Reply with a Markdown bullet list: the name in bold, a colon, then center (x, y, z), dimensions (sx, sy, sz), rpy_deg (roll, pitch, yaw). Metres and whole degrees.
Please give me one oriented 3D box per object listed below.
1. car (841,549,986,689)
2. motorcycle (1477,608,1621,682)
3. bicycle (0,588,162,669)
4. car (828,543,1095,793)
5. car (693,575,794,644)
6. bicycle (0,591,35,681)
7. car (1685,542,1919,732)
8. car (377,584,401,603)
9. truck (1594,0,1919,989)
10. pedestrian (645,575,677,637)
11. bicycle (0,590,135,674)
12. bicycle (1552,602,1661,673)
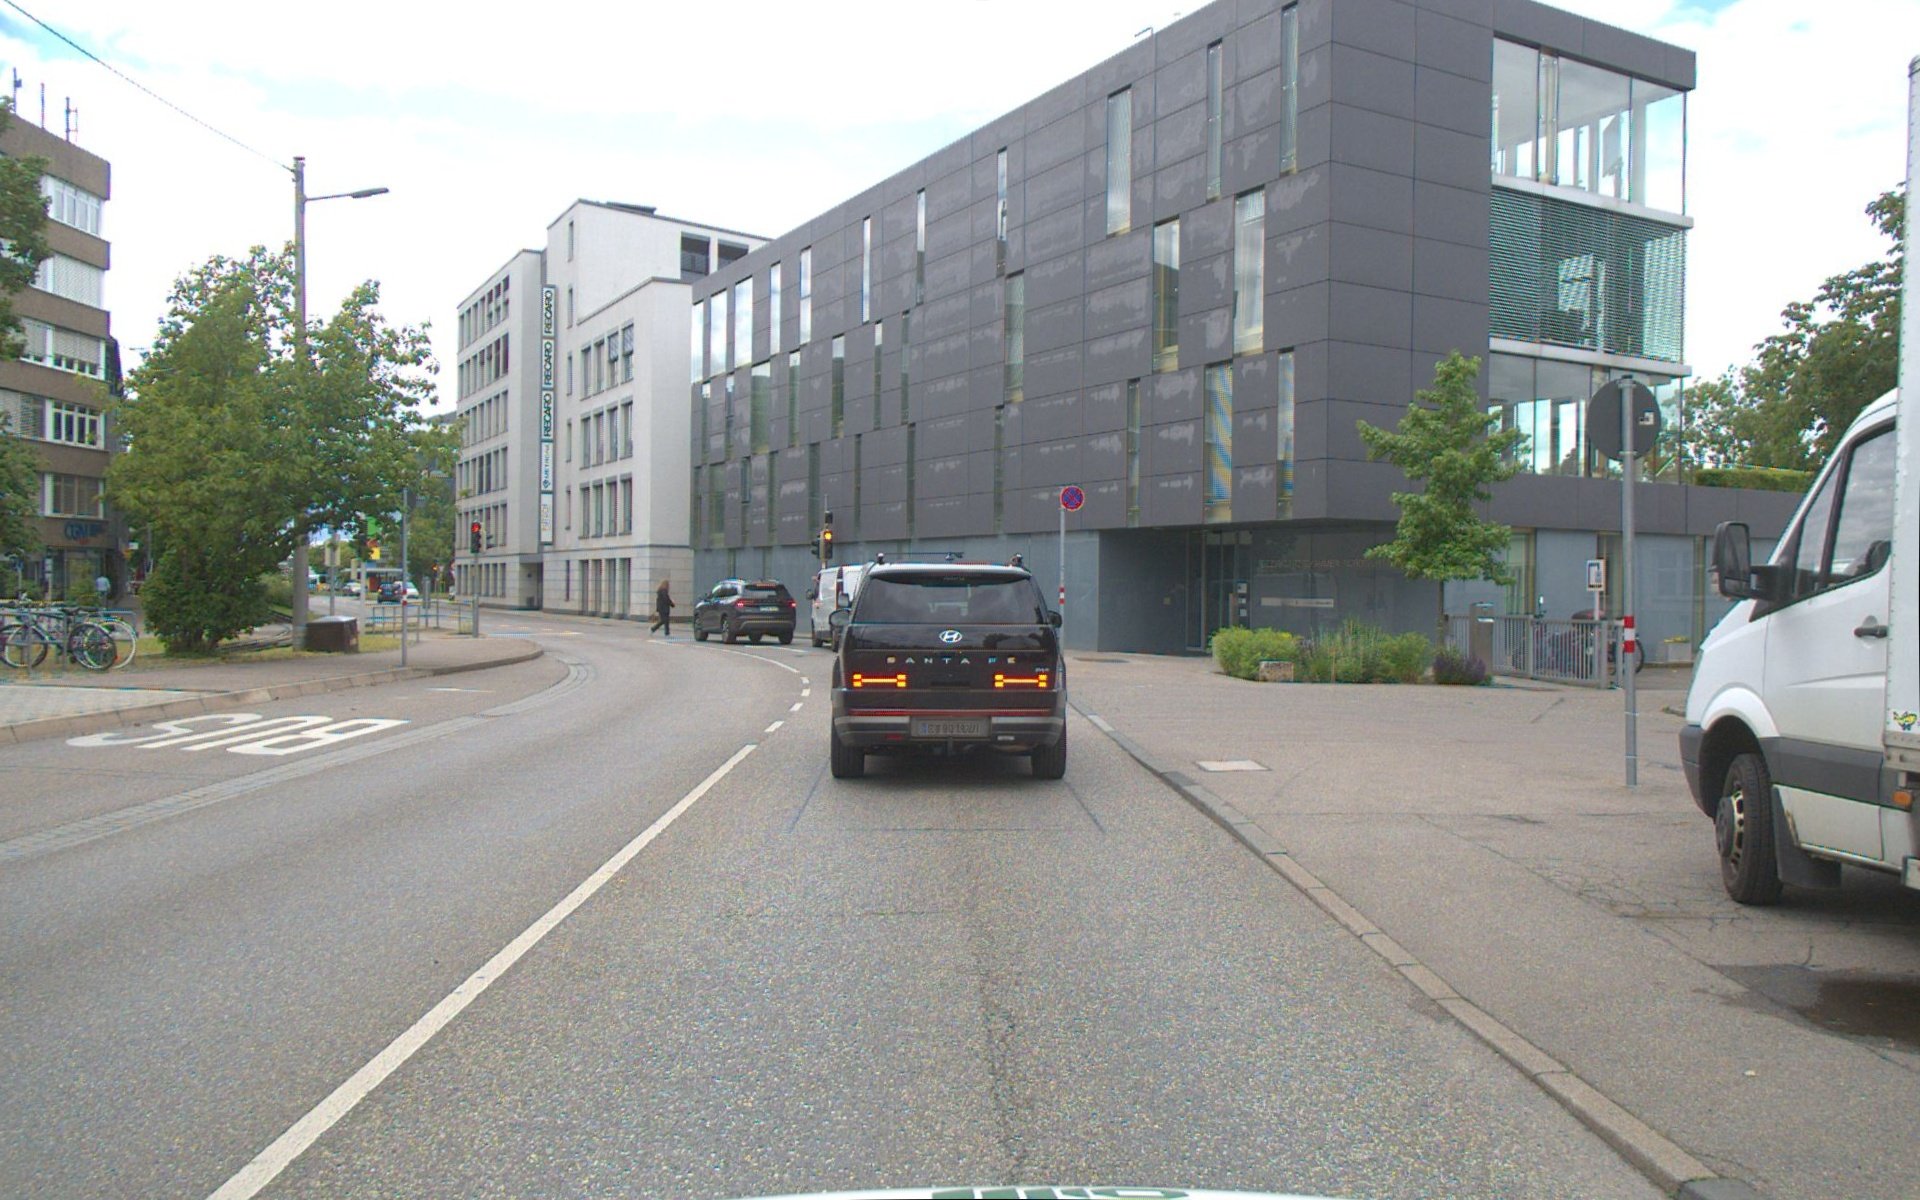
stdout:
- **car**: center (-0.851, 0.252, 26.910), dimensions (1.821, 2.069, 4.428), rpy_deg (0, 1, -9)
- **motorcycle**: center (10.869, 0.803, 30.647), dimensions (0.836, 1.282, 2.670), rpy_deg (0, 0, -27)
- **bicycle**: center (-12.846, 0.408, 24.136), dimensions (2.056, 1.125, 0.631), rpy_deg (2, 0, 0)
- **car**: center (-0.129, 0.480, 14.063), dimensions (1.877, 1.755, 4.167), rpy_deg (2, 0, -4)
- **car**: center (-5.836, 0.241, 44.209), dimensions (1.820, 1.706, 4.350), rpy_deg (-1, 0, -19)
- **bicycle**: center (-12.945, 0.430, 21.132), dimensions (1.889, 1.125, 0.587), rpy_deg (2, 0, -1)
- **car**: center (10.211, 0.359, 18.647), dimensions (1.953, 1.870, 4.516), rpy_deg (-1, 0, -2)
- **car**: center (-46.923, -0.549, 135.987), dimensions (1.871, 1.512, 3.978), rpy_deg (0, 0, -19)
- **truck**: center (4.684, -0.397, 4.981), dimensions (2.520, 3.587, 7.810), rpy_deg (0, 0, 0)
- **pedestrian**: center (-8.903, 0.169, 49.219), dimensions (0.922, 1.832, 0.589), rpy_deg (0, 0, -13)
- **bicycle**: center (-12.857, 0.439, 23.361), dimensions (2.056, 1.125, 0.631), rpy_deg (2, 0, -1)
- **bicycle**: center (12.387, 0.699, 31.770), dimensions (0.606, 1.282, 2.084), rpy_deg (0, 0, -27)
